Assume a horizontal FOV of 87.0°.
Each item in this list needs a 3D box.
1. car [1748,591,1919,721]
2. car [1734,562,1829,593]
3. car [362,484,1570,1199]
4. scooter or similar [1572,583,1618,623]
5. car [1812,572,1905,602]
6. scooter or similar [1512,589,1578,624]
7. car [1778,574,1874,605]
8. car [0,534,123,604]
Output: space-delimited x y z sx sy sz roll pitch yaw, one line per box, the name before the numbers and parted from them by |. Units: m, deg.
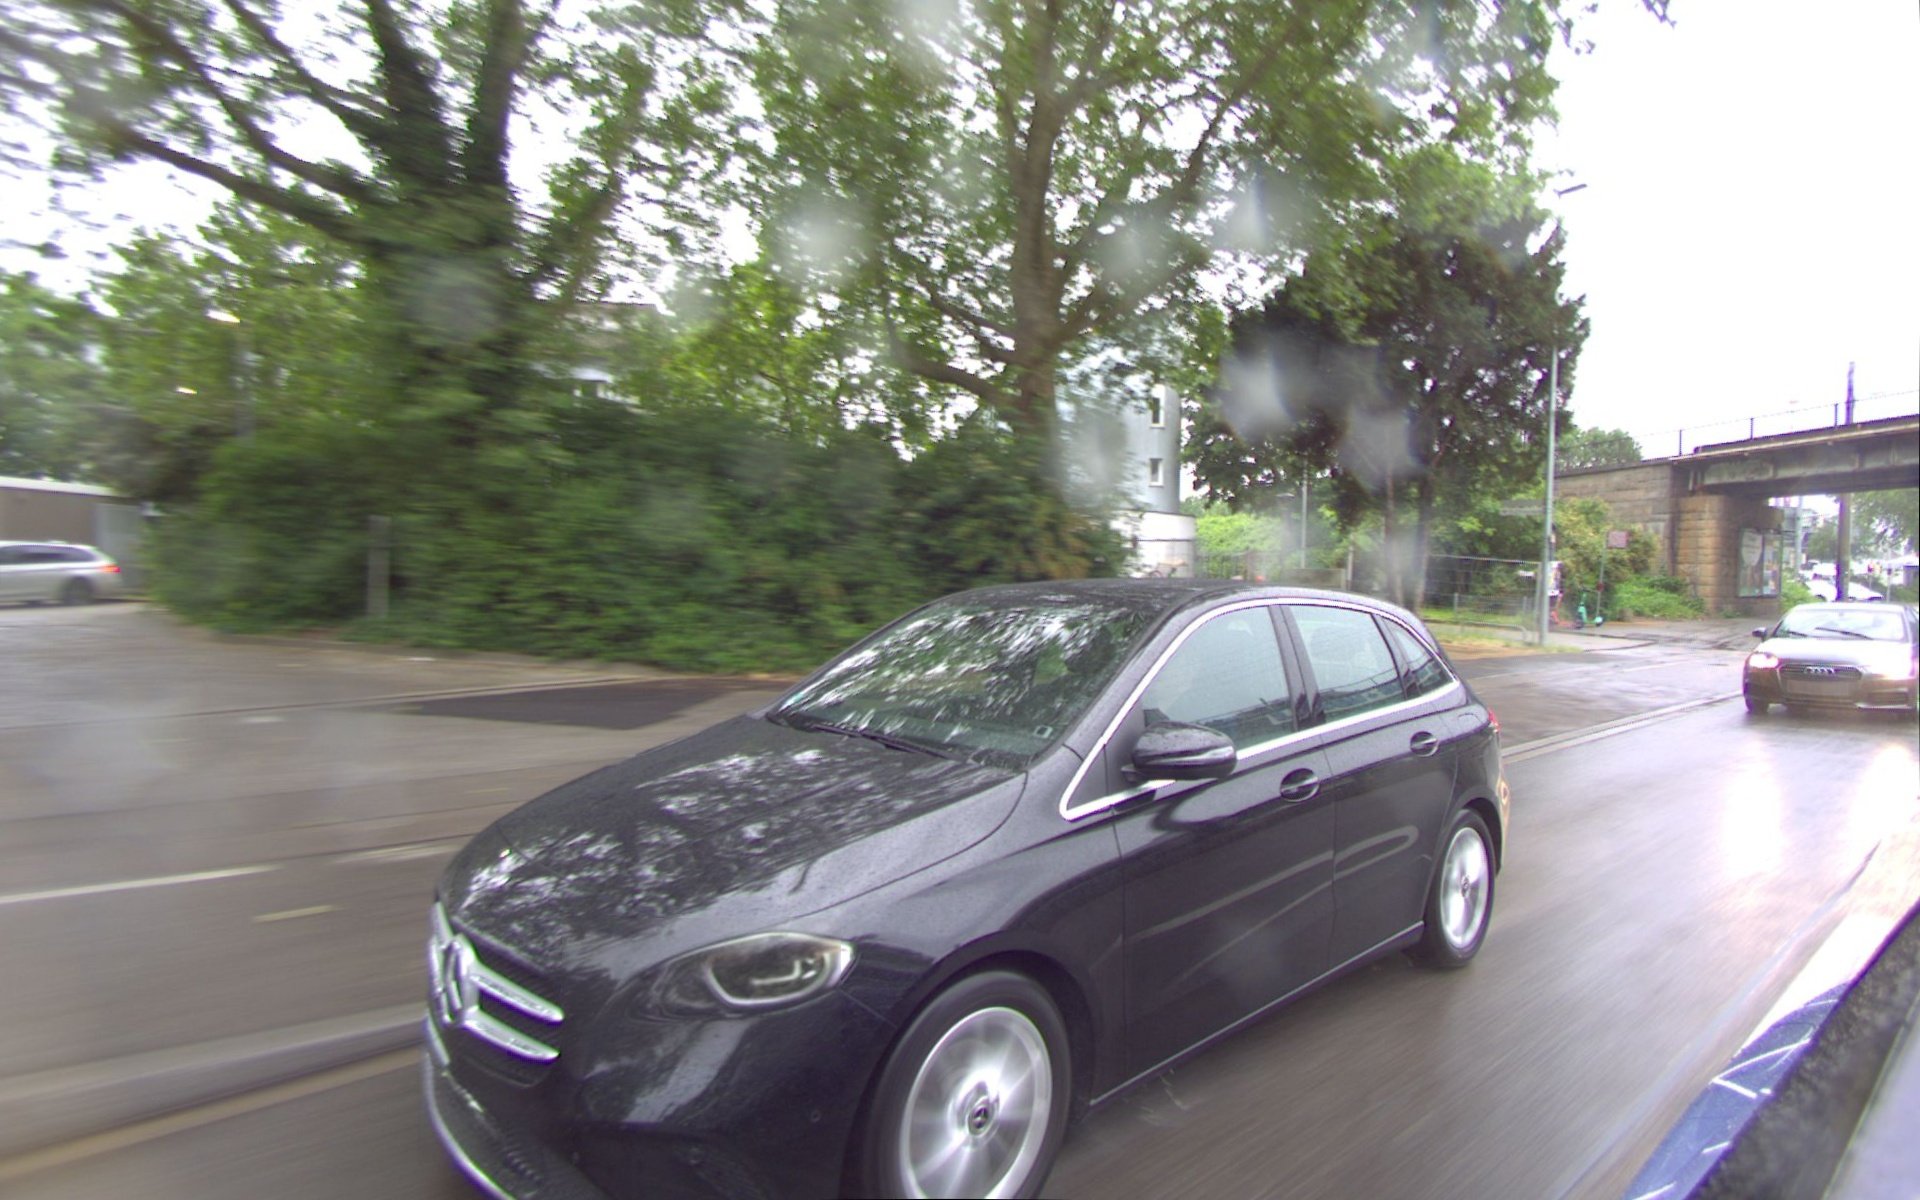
car | 11.688 0.604 13.001 3.713 1.402 1.641 -1 1 -38
car | 47.385 -1.302 58.388 4.143 1.720 1.842 2 1 42
car | 0.461 0.601 3.730 4.344 1.549 1.819 0 -1 -41
scooter or similar | 19.215 0.079 30.607 1.792 1.173 0.454 -1 0 -33
car | 54.361 -0.816 61.294 1.838 1.720 3.992 1 1 -41
scooter or similar | 17.384 0.203 30.072 1.705 1.022 0.454 0 0 -2
car | 51.768 -0.654 60.612 1.834 1.720 4.428 1 1 -2
car | -21.443 -0.669 22.050 1.974 1.506 4.605 0 2 18
